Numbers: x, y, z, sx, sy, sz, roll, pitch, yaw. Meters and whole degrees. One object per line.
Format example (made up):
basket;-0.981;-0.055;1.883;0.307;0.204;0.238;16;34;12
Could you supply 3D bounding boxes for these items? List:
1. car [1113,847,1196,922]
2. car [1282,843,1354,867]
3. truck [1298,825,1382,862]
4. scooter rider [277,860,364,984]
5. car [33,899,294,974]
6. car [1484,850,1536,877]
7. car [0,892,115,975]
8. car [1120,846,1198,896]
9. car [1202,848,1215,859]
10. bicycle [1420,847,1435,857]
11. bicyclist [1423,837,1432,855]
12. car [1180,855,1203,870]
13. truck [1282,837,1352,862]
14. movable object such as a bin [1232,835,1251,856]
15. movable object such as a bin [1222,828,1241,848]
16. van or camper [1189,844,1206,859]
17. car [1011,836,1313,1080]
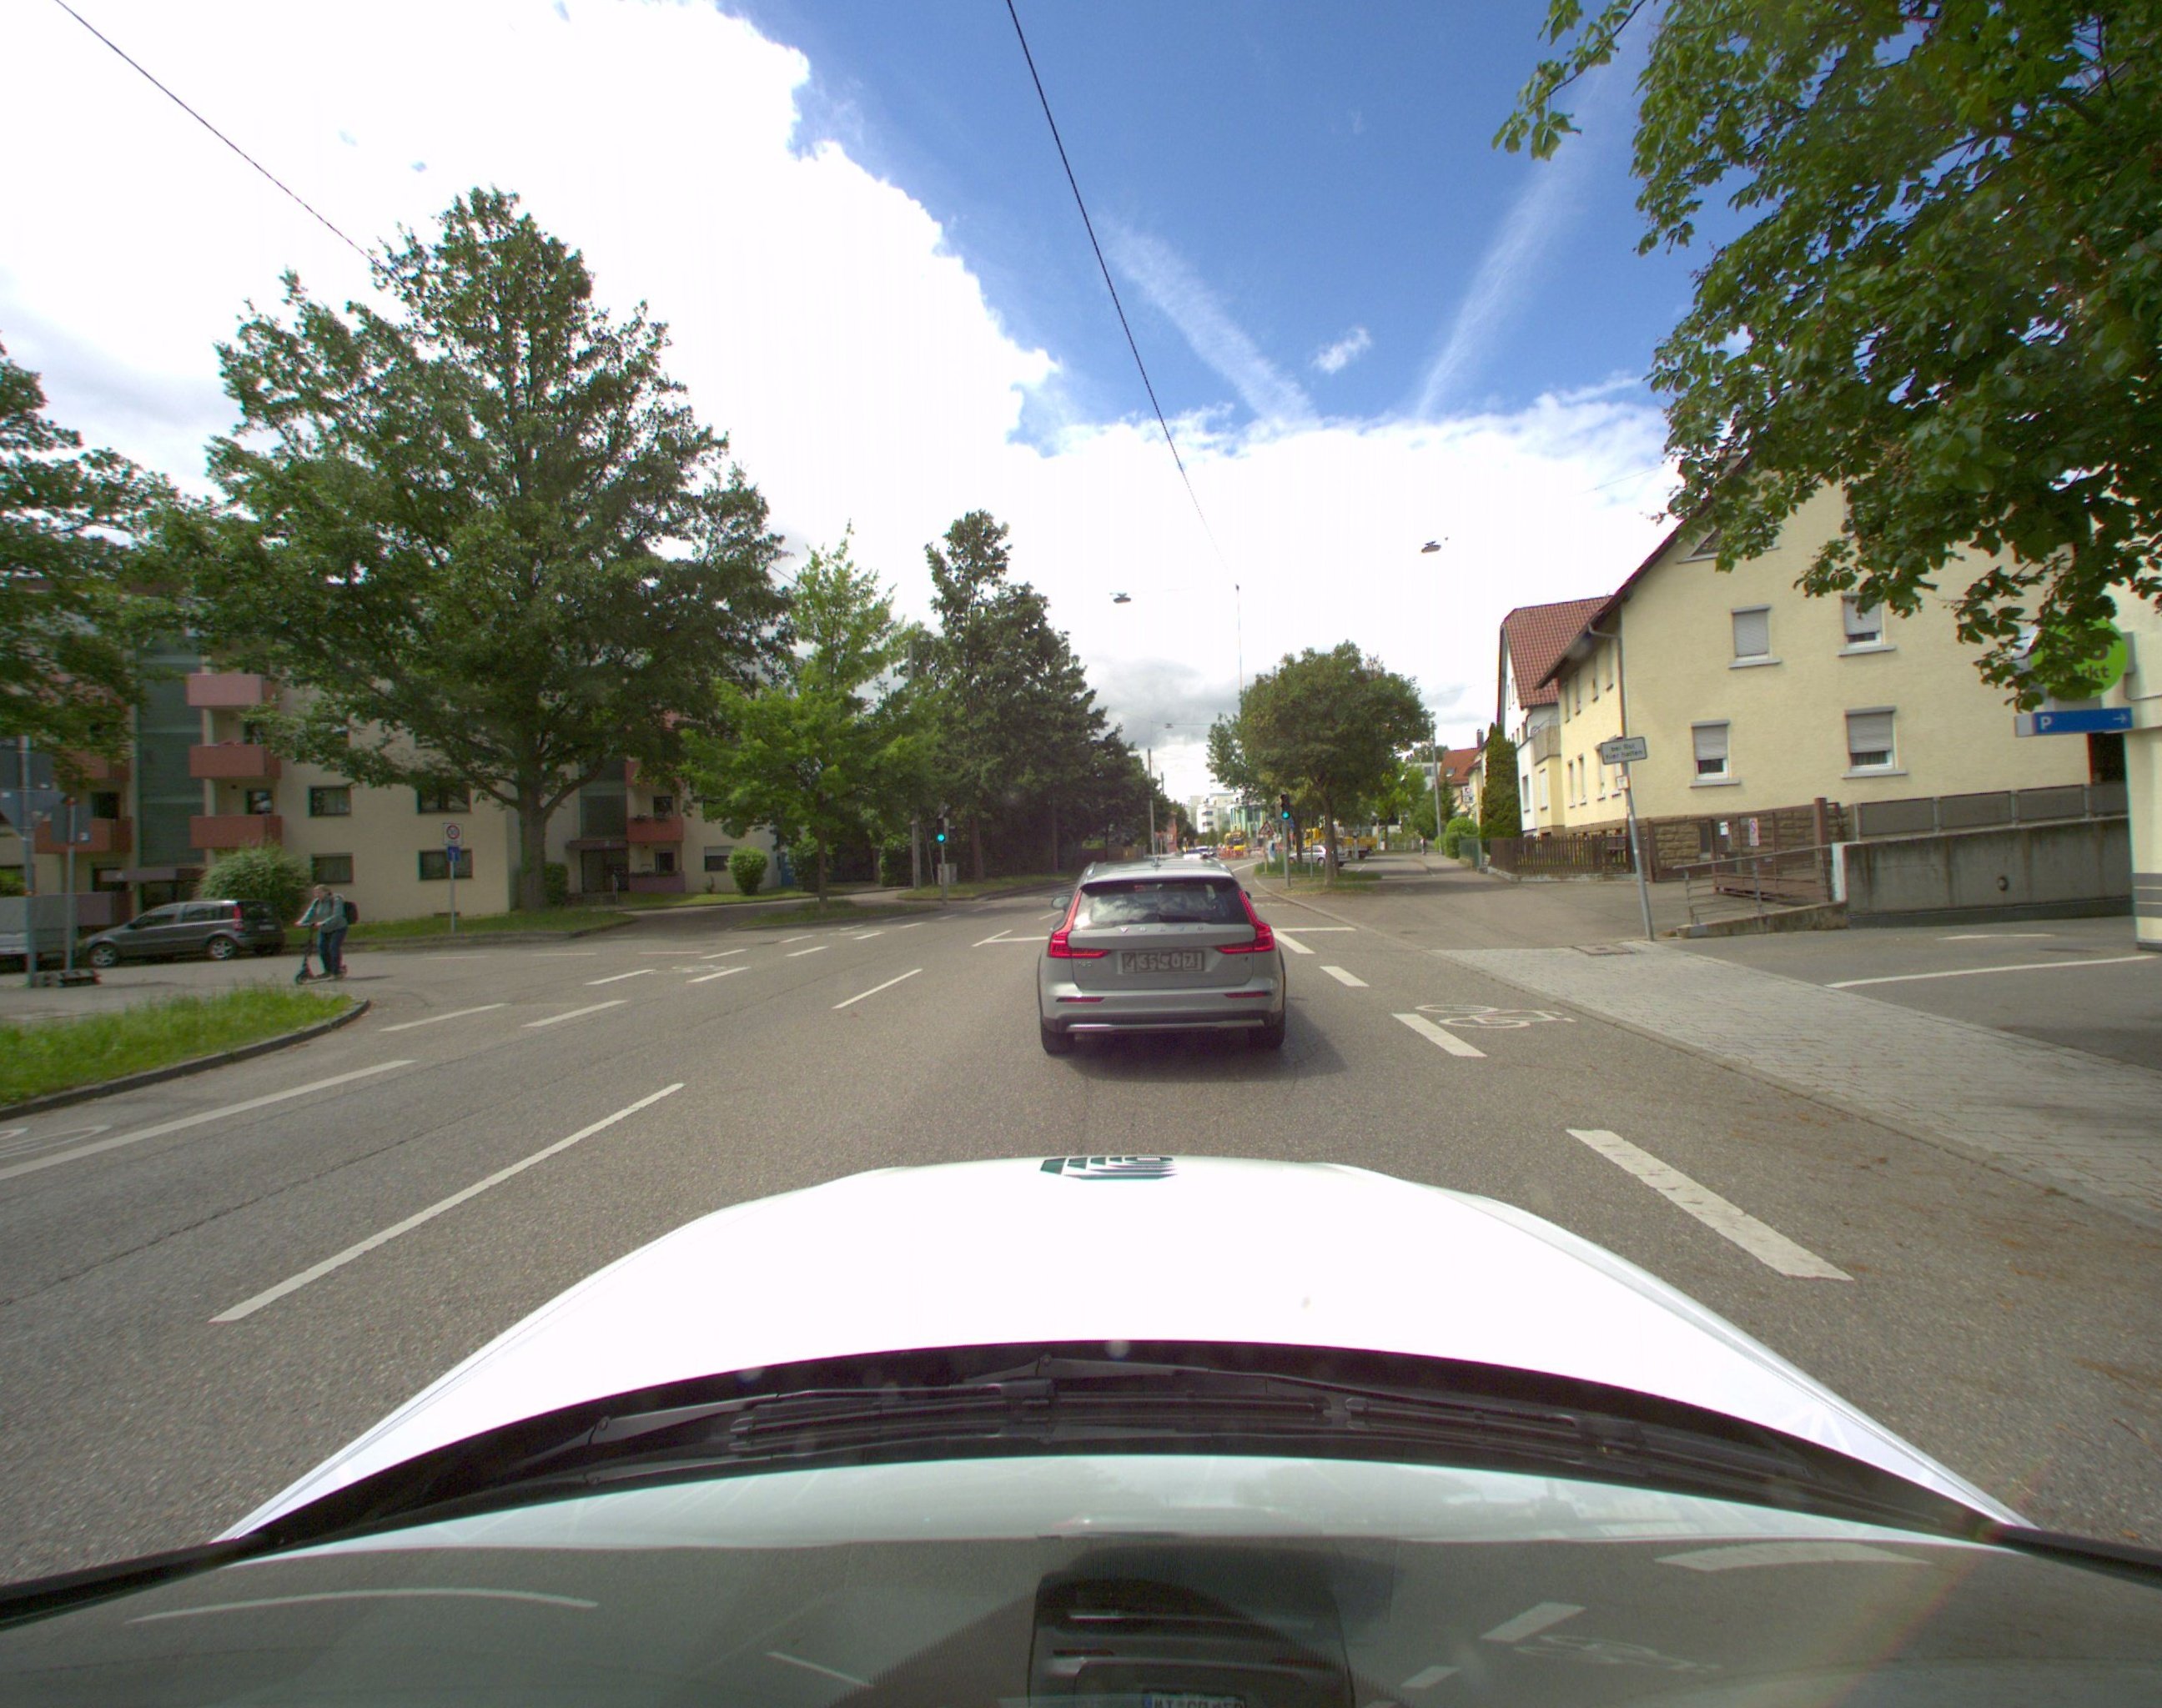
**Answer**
car;1.637;0.630;18.195;1.653;1.508;3.707;0;-1;5
car;15.640;0.085;53.975;1.773;1.451;4.644;-2;0;-30
truck;22.238;-0.827;70.282;2.780;3.008;6.639;0;-1;-32
scooter rider;-12.738;1.115;13.658;0.674;2.014;0.794;0;-1;1
car;-22.792;2.008;20.429;3.995;1.452;1.687;-3;0;-16
car;19.335;0.430;36.842;1.450;1.124;3.890;0;-1;18
car;-27.085;2.071;19.953;3.990;1.844;1.838;-5;0;-12
car;2.655;0.537;26.869;2.088;1.510;4.014;0;-1;13
car;20.566;-0.013;131.387;1.983;1.737;4.008;0;-1;7
bicycle;30.676;-0.172;72.158;0.592;0.812;1.754;0;0;1
bicyclist;30.676;-0.691;72.142;0.587;1.559;0.567;0;-1;1
car;10.416;0.825;76.700;1.816;1.330;4.012;0;-2;11
truck;19.766;-0.326;68.443;2.009;2.014;5.615;0;-1;-36
movable object such as a bin;21.494;-1.098;108.840;2.020;2.642;5.961;-3;0;13
movable object such as a bin;24.373;-2.596;132.212;2.299;2.990;6.436;-3;0;5
van or camper;15.085;-0.326;105.610;1.848;1.776;4.395;-3;0;12
car;0.635;0.662;7.362;1.920;1.540;4.003;-2;1;3
